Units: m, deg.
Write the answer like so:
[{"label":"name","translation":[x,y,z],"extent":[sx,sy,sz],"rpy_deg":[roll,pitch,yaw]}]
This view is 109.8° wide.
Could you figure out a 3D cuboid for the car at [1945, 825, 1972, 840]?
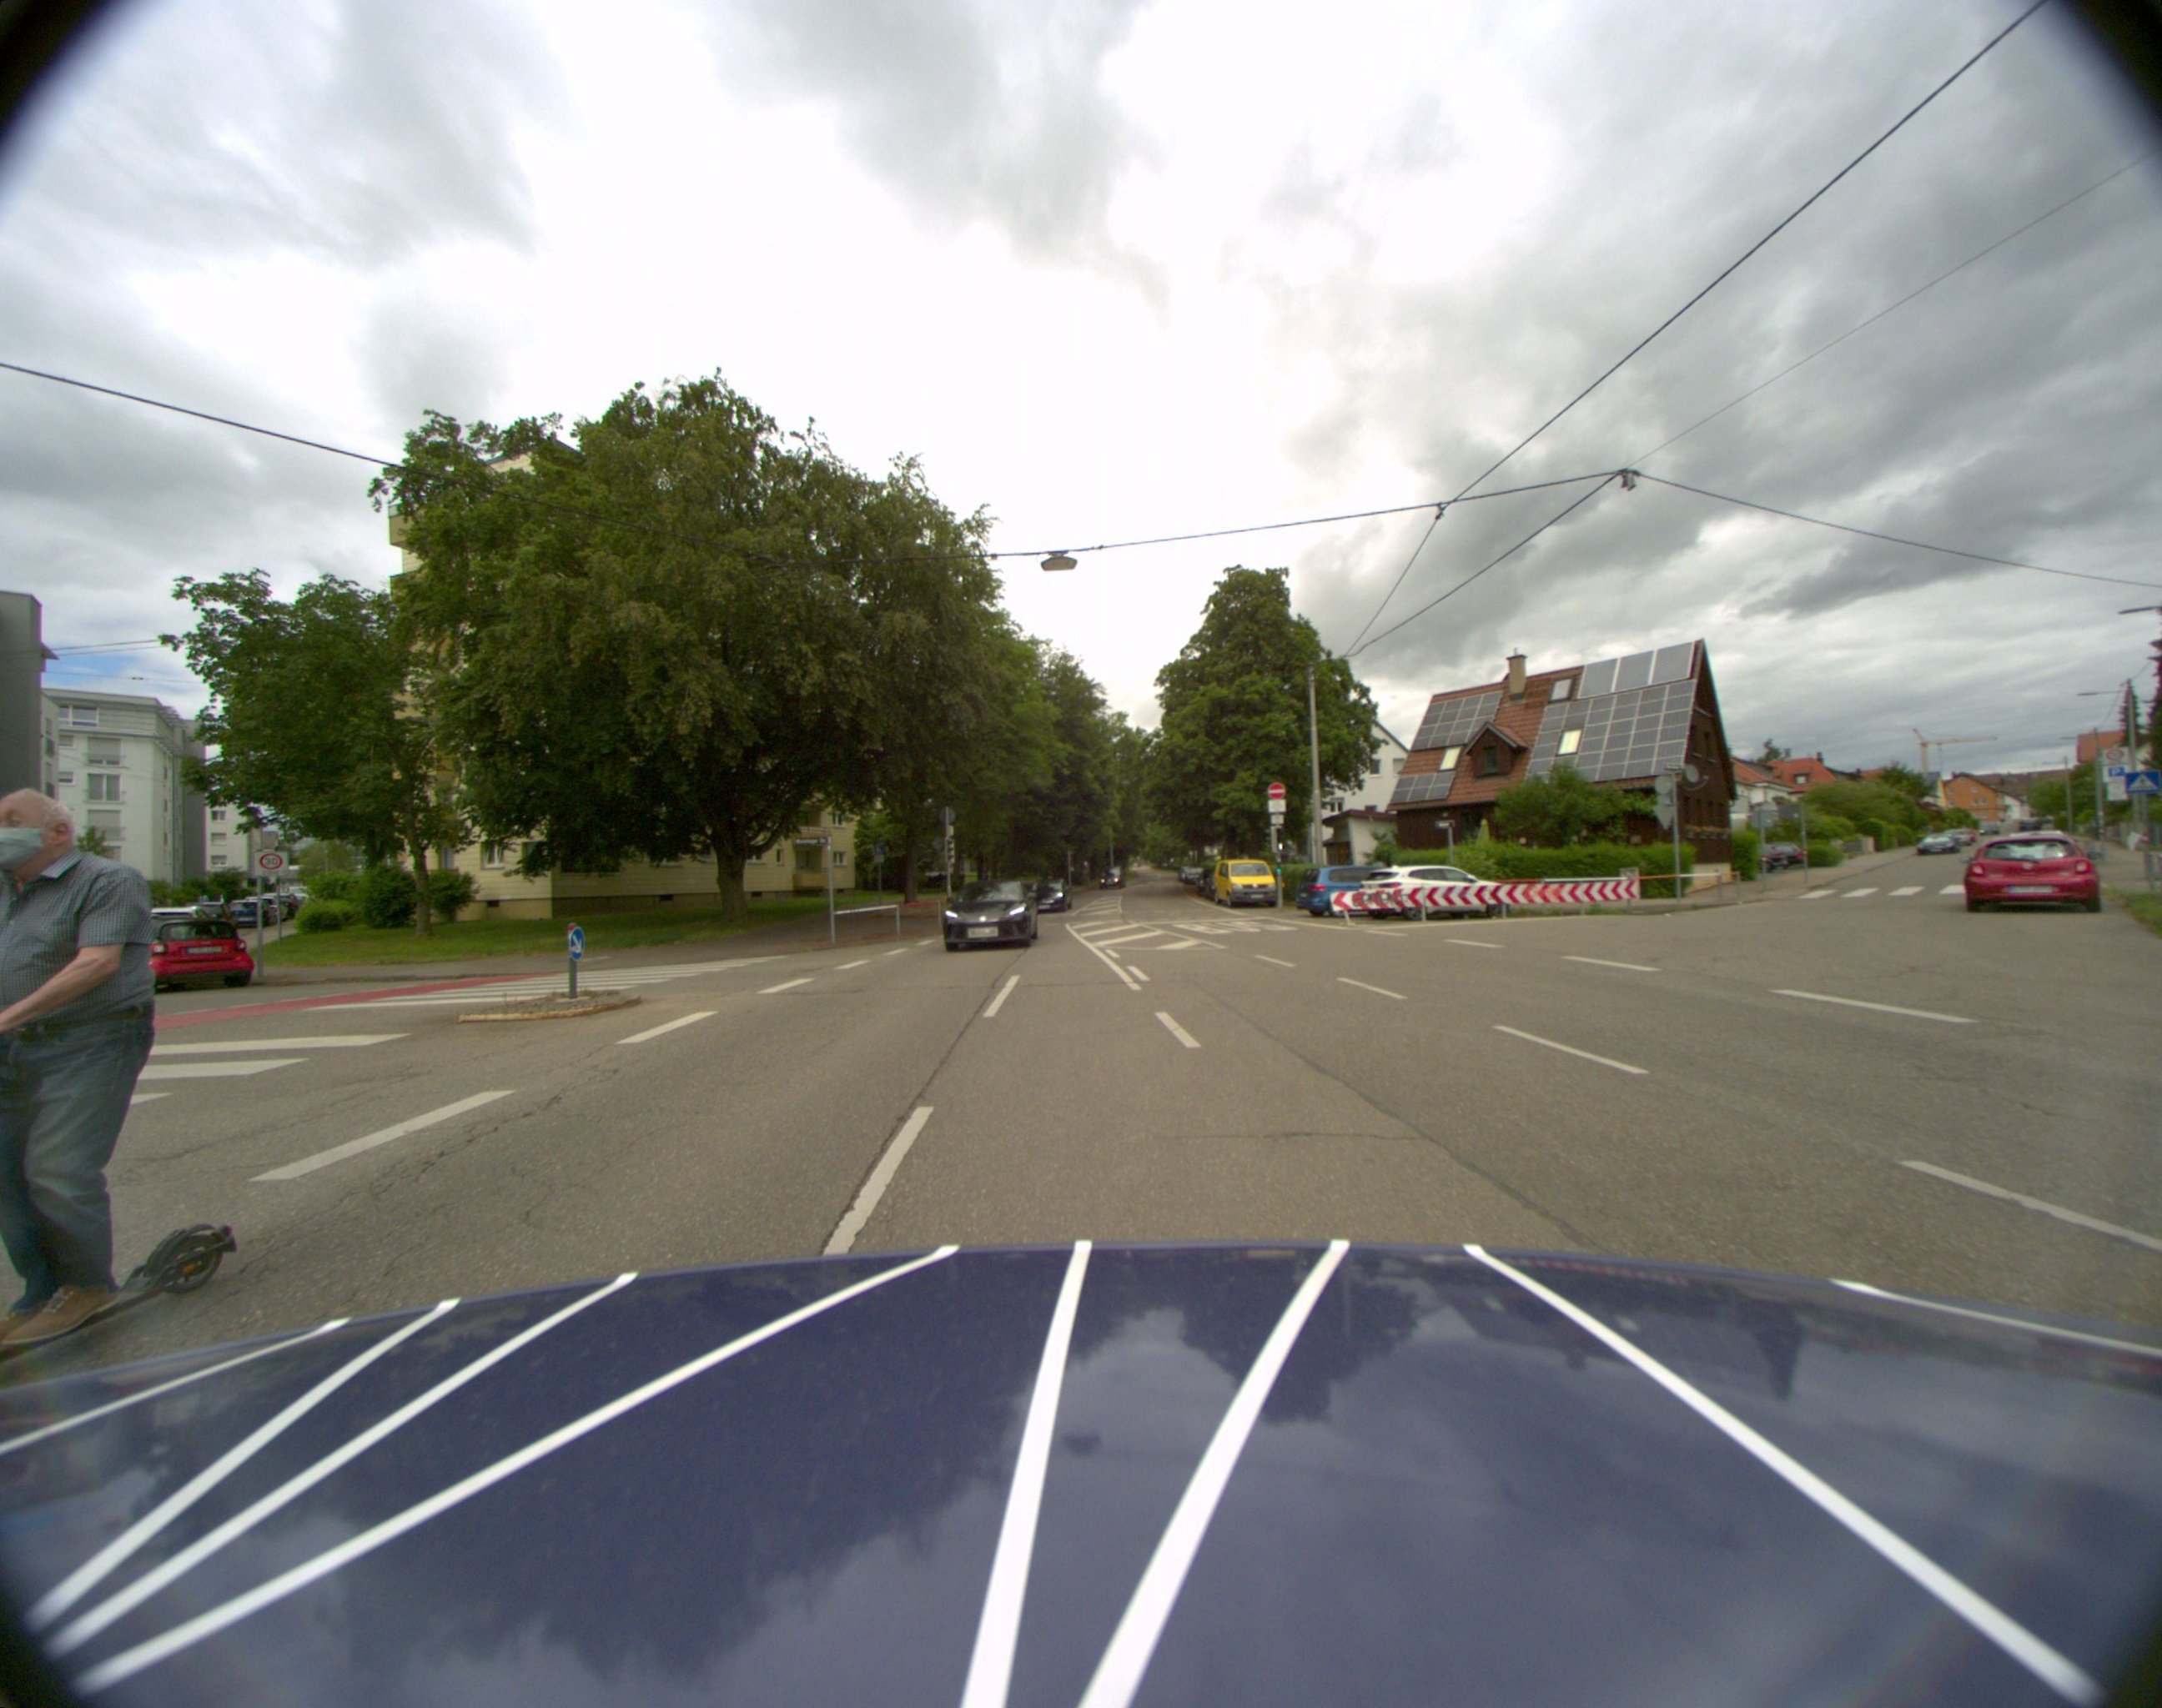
[{"label":"car","translation":[93.529,-2.256,80.997],"extent":[3.692,1.480,1.770],"rpy_deg":[0,-2,-40]}]

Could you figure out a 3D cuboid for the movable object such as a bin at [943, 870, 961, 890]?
[{"label":"movable object such as a bin","translation":[-11.073,2.231,65.290],"extent":[1.277,1.632,1.020],"rpy_deg":[0,1,3]}]

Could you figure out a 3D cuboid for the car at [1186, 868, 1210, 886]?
[{"label":"car","translation":[9.720,1.890,63.389],"extent":[1.851,1.368,4.597],"rpy_deg":[-2,-1,8]}]

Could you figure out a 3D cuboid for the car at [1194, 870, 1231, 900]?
[{"label":"car","translation":[7.413,1.721,43.181],"extent":[1.749,1.442,4.596],"rpy_deg":[-2,0,7]}]

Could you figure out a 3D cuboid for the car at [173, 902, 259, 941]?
[{"label":"car","translation":[-37.735,2.899,33.243],"extent":[1.799,1.403,4.061],"rpy_deg":[0,-1,-39]}]

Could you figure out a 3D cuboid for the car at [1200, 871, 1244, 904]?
[{"label":"car","translation":[7.068,1.644,38.457],"extent":[1.749,1.442,4.515],"rpy_deg":[-2,0,5]}]

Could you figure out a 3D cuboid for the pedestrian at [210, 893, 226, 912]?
[{"label":"pedestrian","translation":[-70.477,3.997,62.017],"extent":[0.710,1.482,0.710],"rpy_deg":[-3,0,34]}]

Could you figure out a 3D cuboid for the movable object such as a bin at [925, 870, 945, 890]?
[{"label":"movable object such as a bin","translation":[-12.583,2.239,65.411],"extent":[1.434,1.632,1.020],"rpy_deg":[0,1,3]}]

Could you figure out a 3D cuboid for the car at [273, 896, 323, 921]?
[{"label":"car","translation":[-50.786,3.510,49.346],"extent":[1.799,1.403,4.061],"rpy_deg":[0,-1,-39]}]

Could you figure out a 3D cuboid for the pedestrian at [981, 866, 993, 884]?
[{"label":"pedestrian","translation":[-7.103,1.574,57.293],"extent":[0.688,1.373,0.606],"rpy_deg":[-2,0,6]}]

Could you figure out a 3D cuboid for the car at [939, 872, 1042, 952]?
[{"label":"car","translation":[-1.920,1.281,17.306],"extent":[1.804,1.540,4.301],"rpy_deg":[-2,-3,-1]}]

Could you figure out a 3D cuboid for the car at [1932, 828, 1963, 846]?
[{"label":"car","translation":[81.059,-1.573,71.077],"extent":[3.692,1.480,1.770],"rpy_deg":[0,-2,-40]}]

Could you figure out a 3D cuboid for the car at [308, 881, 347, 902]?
[{"label":"car","translation":[-59.705,2.929,60.271],"extent":[1.799,1.571,4.061],"rpy_deg":[0,-1,-39]}]

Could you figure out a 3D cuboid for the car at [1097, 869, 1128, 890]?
[{"label":"car","translation":[2.570,2.030,61.150],"extent":[1.997,1.585,4.003],"rpy_deg":[-2,-1,10]}]

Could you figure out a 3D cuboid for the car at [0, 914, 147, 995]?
[{"label":"car","translation":[-23.933,2.318,17.974],"extent":[3.816,1.581,1.822],"rpy_deg":[-4,-1,32]}]

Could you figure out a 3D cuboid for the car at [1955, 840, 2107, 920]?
[{"label":"car","translation":[19.603,0.512,15.808],"extent":[3.692,1.480,1.770],"rpy_deg":[0,-2,-40]}]

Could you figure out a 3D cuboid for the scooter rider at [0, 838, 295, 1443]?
[{"label":"scooter rider","translation":[-3.488,0.839,2.472],"extent":[0.683,1.719,1.196],"rpy_deg":[-2,-2,-8]}]

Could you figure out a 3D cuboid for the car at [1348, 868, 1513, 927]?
[{"label":"car","translation":[9.886,1.211,21.621],"extent":[3.906,1.463,1.844],"rpy_deg":[-2,-2,-12]}]

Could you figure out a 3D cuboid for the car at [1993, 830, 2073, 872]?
[{"label":"car","translation":[36.635,-0.094,29.320],"extent":[3.692,1.480,1.770],"rpy_deg":[0,-2,-40]}]

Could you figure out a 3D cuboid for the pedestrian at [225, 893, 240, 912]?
[{"label":"pedestrian","translation":[-70.085,3.972,62.750],"extent":[0.710,1.482,0.710],"rpy_deg":[-3,1,35]}]

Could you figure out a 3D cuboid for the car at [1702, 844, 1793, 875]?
[{"label":"car","translation":[35.610,0.313,40.654],"extent":[1.594,1.480,3.434],"rpy_deg":[-1,-2,-40]}]

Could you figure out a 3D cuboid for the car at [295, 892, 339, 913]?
[{"label":"car","translation":[-55.954,3.521,55.698],"extent":[1.799,1.403,4.061],"rpy_deg":[0,-1,-39]}]

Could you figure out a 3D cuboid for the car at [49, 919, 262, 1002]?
[{"label":"car","translation":[-19.567,2.227,16.128],"extent":[2.916,1.497,1.698],"rpy_deg":[-3,-2,12]}]

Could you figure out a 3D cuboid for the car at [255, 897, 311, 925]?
[{"label":"car","translation":[-47.403,3.350,45.209],"extent":[1.799,1.403,4.061],"rpy_deg":[0,-1,-39]}]

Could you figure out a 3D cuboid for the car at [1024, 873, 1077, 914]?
[{"label":"car","translation":[-1.324,1.731,34.225],"extent":[1.814,1.520,4.001],"rpy_deg":[-2,0,5]}]

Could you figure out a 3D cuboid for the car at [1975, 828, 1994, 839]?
[{"label":"car","translation":[134.511,-3.050,113.122],"extent":[3.692,1.480,1.770],"rpy_deg":[0,-2,-40]}]

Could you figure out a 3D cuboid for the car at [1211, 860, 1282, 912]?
[{"label":"car","translation":[6.891,1.295,32.091],"extent":[1.921,1.977,4.801],"rpy_deg":[-2,-1,1]}]

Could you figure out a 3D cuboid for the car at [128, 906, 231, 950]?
[{"label":"car","translation":[-34.530,2.793,29.233],"extent":[1.799,1.346,4.061],"rpy_deg":[0,-1,-39]}]

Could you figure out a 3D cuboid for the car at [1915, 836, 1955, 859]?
[{"label":"car","translation":[60.385,-0.430,53.726],"extent":[3.692,1.480,1.770],"rpy_deg":[0,-2,-40]}]

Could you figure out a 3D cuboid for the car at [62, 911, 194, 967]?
[{"label":"car","translation":[-30.529,2.654,24.497],"extent":[1.799,1.425,4.061],"rpy_deg":[0,-1,-39]}]

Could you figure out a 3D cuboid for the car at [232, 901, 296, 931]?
[{"label":"car","translation":[-43.891,3.299,40.908],"extent":[1.799,1.403,4.061],"rpy_deg":[0,-1,-39]}]

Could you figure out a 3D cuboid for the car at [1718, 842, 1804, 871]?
[{"label":"car","translation":[39.279,0.148,43.943],"extent":[1.594,1.480,3.434],"rpy_deg":[-1,-2,-40]}]

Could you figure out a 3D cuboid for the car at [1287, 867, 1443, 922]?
[{"label":"car","translation":[8.853,1.254,23.926],"extent":[4.177,1.537,1.845],"rpy_deg":[-2,-2,-4]}]

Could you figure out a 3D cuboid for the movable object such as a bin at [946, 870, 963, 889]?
[{"label":"movable object such as a bin","translation":[-11.039,2.217,66.418],"extent":[1.239,1.632,1.076],"rpy_deg":[0,1,3]}]

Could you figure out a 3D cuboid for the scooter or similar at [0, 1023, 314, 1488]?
[{"label":"scooter or similar","translation":[-3.483,1.266,2.434],"extent":[0.683,1.132,1.459],"rpy_deg":[-2,-2,-8]}]

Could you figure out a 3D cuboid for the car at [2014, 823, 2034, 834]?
[{"label":"car","translation":[146.376,-4.007,117.973],"extent":[3.692,1.480,1.770],"rpy_deg":[0,-2,-40]}]
